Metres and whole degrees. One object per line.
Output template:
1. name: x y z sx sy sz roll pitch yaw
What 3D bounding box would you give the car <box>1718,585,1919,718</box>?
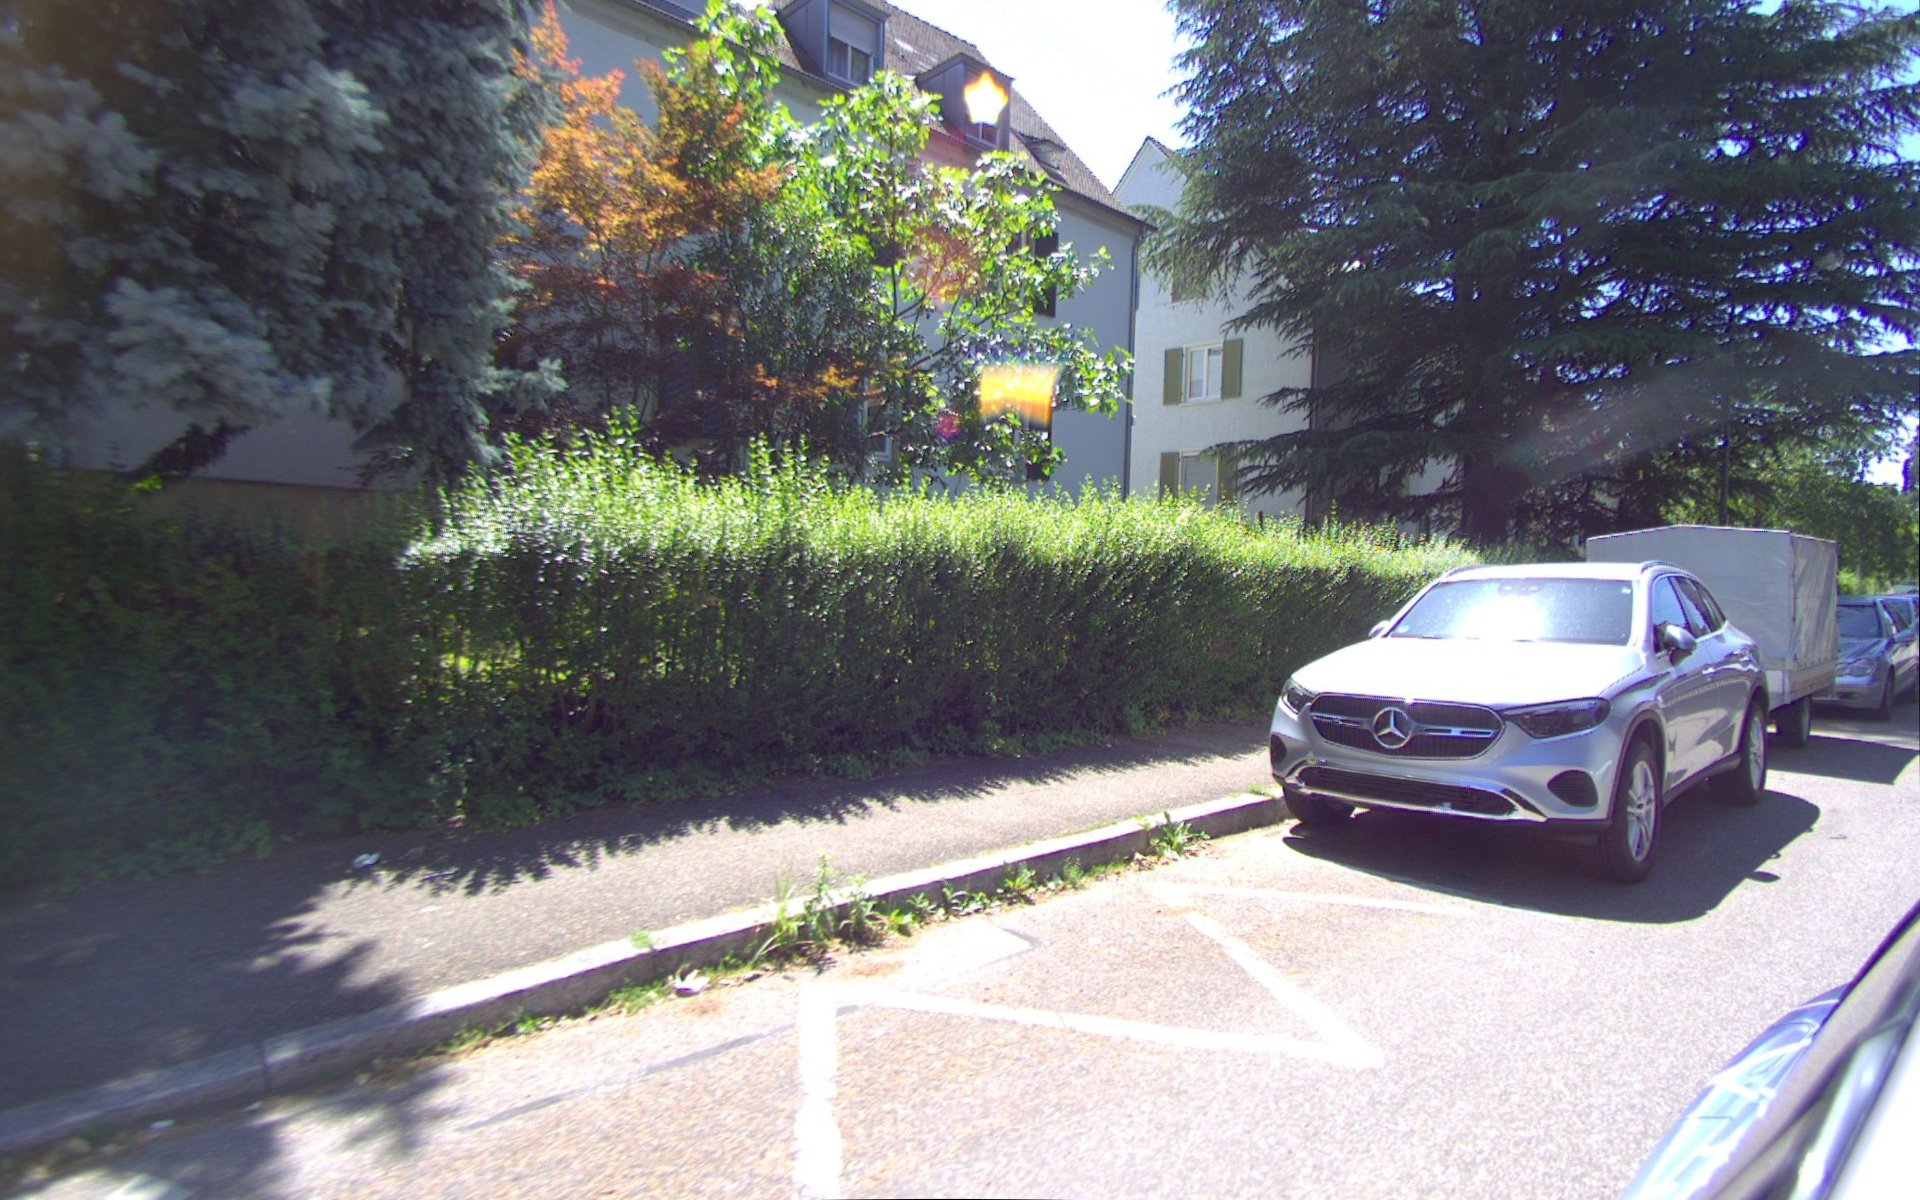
1. car: 11.311 0.537 13.066 4.185 1.413 1.617 -1 1 -41

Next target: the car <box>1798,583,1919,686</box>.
1. car: 15.222 0.484 16.611 3.993 1.488 1.617 0 1 -41

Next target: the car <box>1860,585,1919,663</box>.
1. car: 19.784 0.437 20.652 4.300 1.469 1.616 -1 0 -42

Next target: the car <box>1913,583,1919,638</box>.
1. car: 27.685 0.329 28.041 3.940 1.462 1.582 3 -4 -43

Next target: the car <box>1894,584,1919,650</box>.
1. car: 23.978 0.367 24.552 3.996 1.532 1.616 -1 -1 -43

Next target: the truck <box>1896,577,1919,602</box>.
1. truck: 94.033 -1.001 99.420 2.121 2.368 6.353 3 2 35

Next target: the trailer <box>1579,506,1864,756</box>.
1. trailer: 7.875 0.251 10.361 3.644 2.094 1.682 0 0 -42

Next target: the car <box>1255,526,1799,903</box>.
1. car: 3.942 0.492 6.625 4.525 1.652 1.774 0 0 -42
